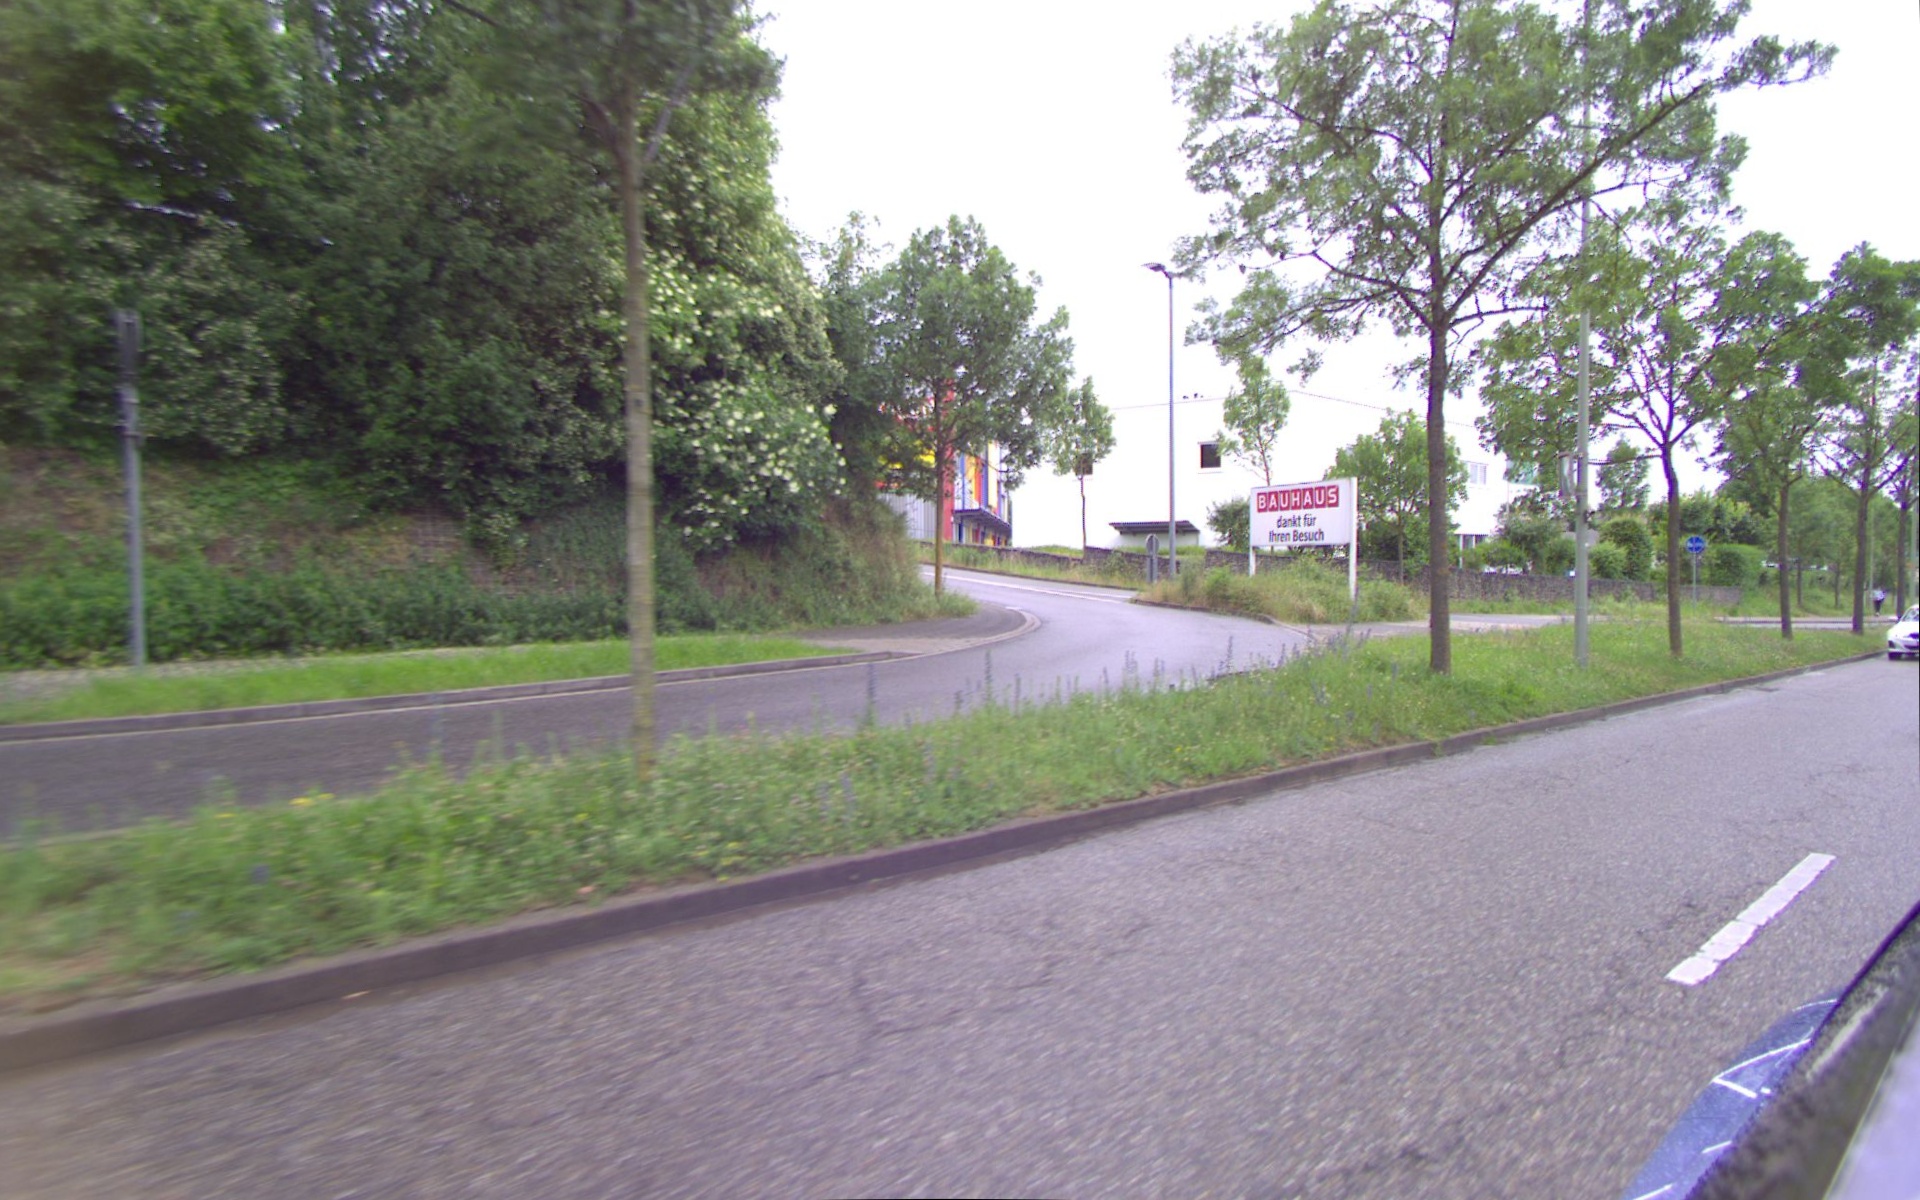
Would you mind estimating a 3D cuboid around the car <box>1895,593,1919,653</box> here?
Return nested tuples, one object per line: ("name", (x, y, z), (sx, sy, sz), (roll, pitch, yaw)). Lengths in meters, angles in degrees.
("car", (26.117, 0.586, 26.526), (3.928, 1.500, 1.863), (0, 1, -39))
